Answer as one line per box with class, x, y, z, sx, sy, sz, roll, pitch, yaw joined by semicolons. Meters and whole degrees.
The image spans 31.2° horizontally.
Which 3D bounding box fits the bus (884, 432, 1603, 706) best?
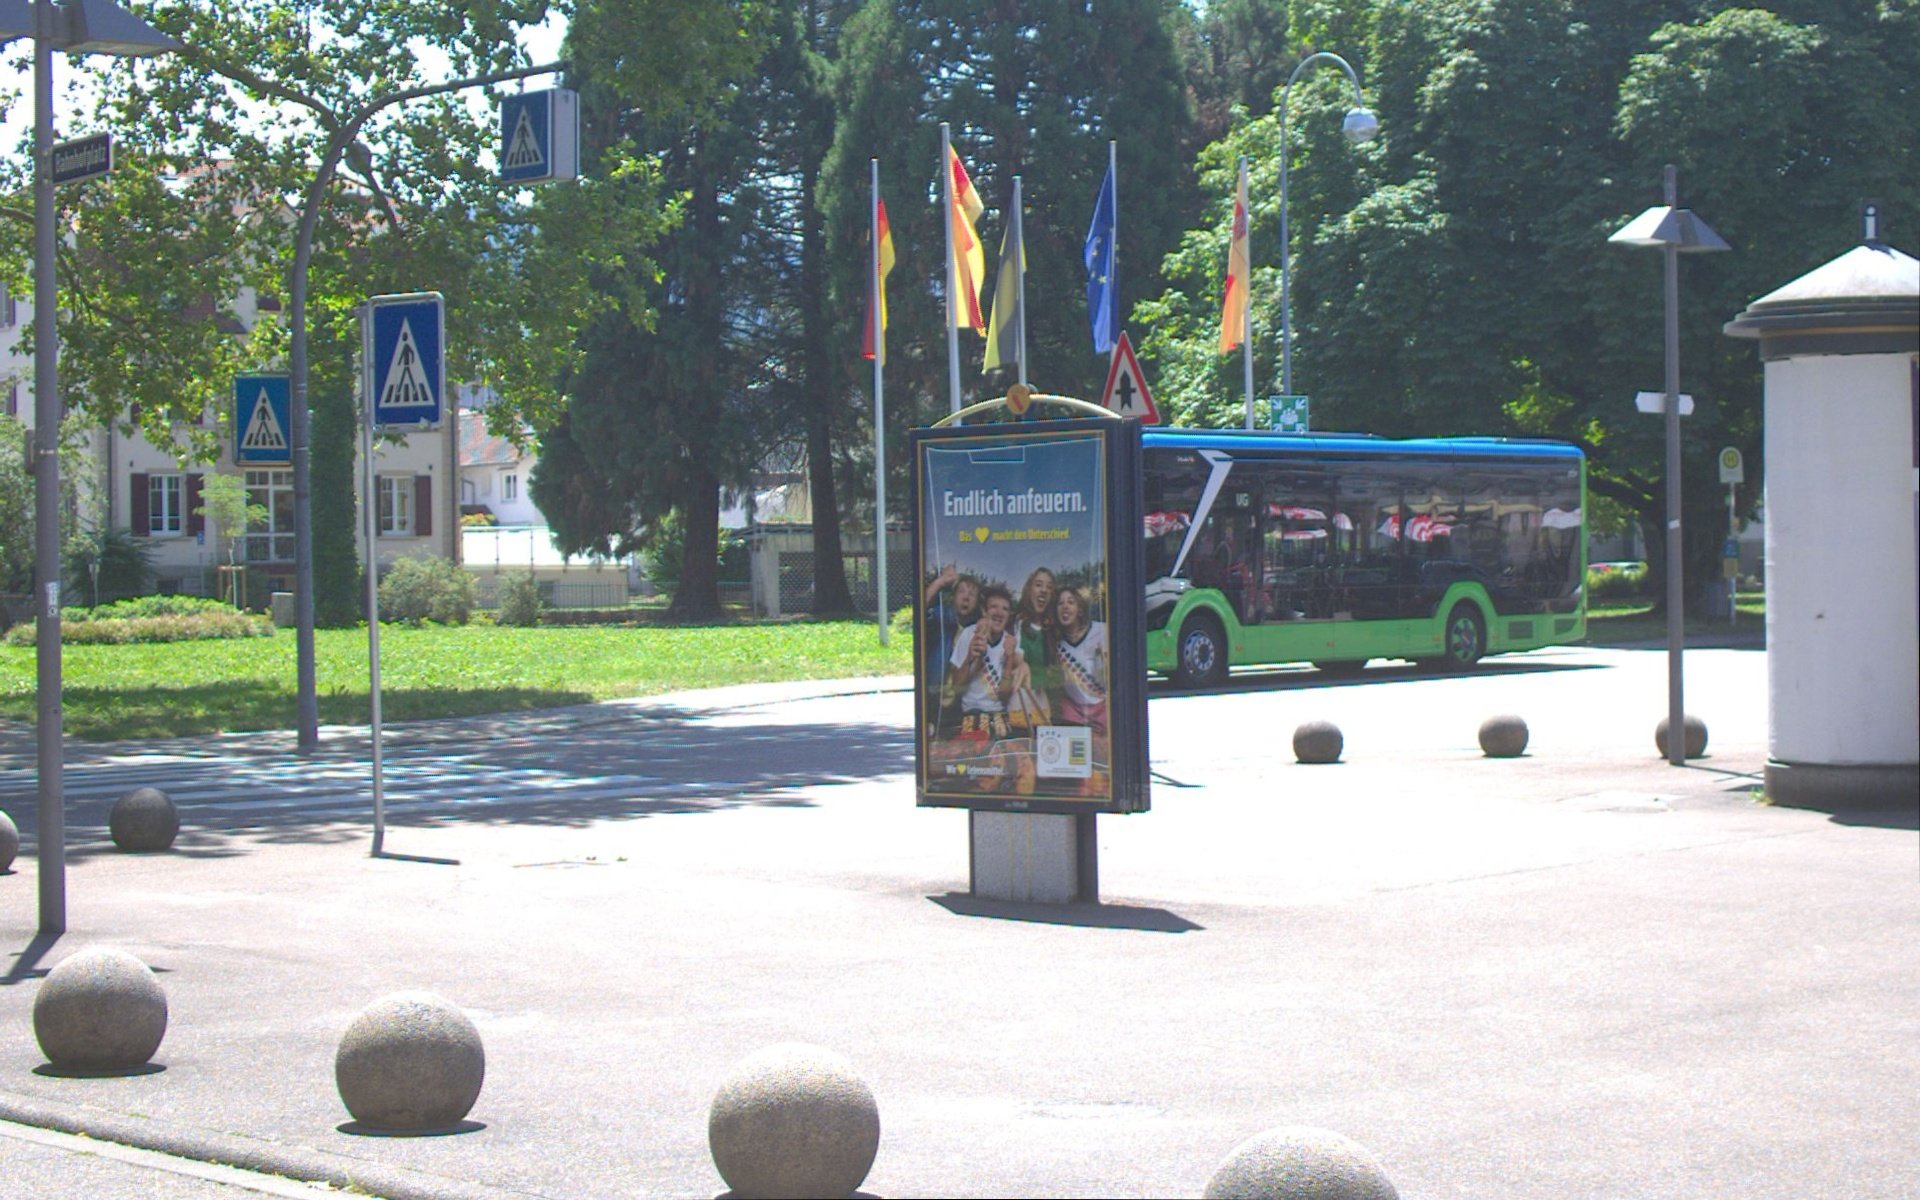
bus;4.234;-0.475;46.621;2.815;3.272;12.395;0;1;42
